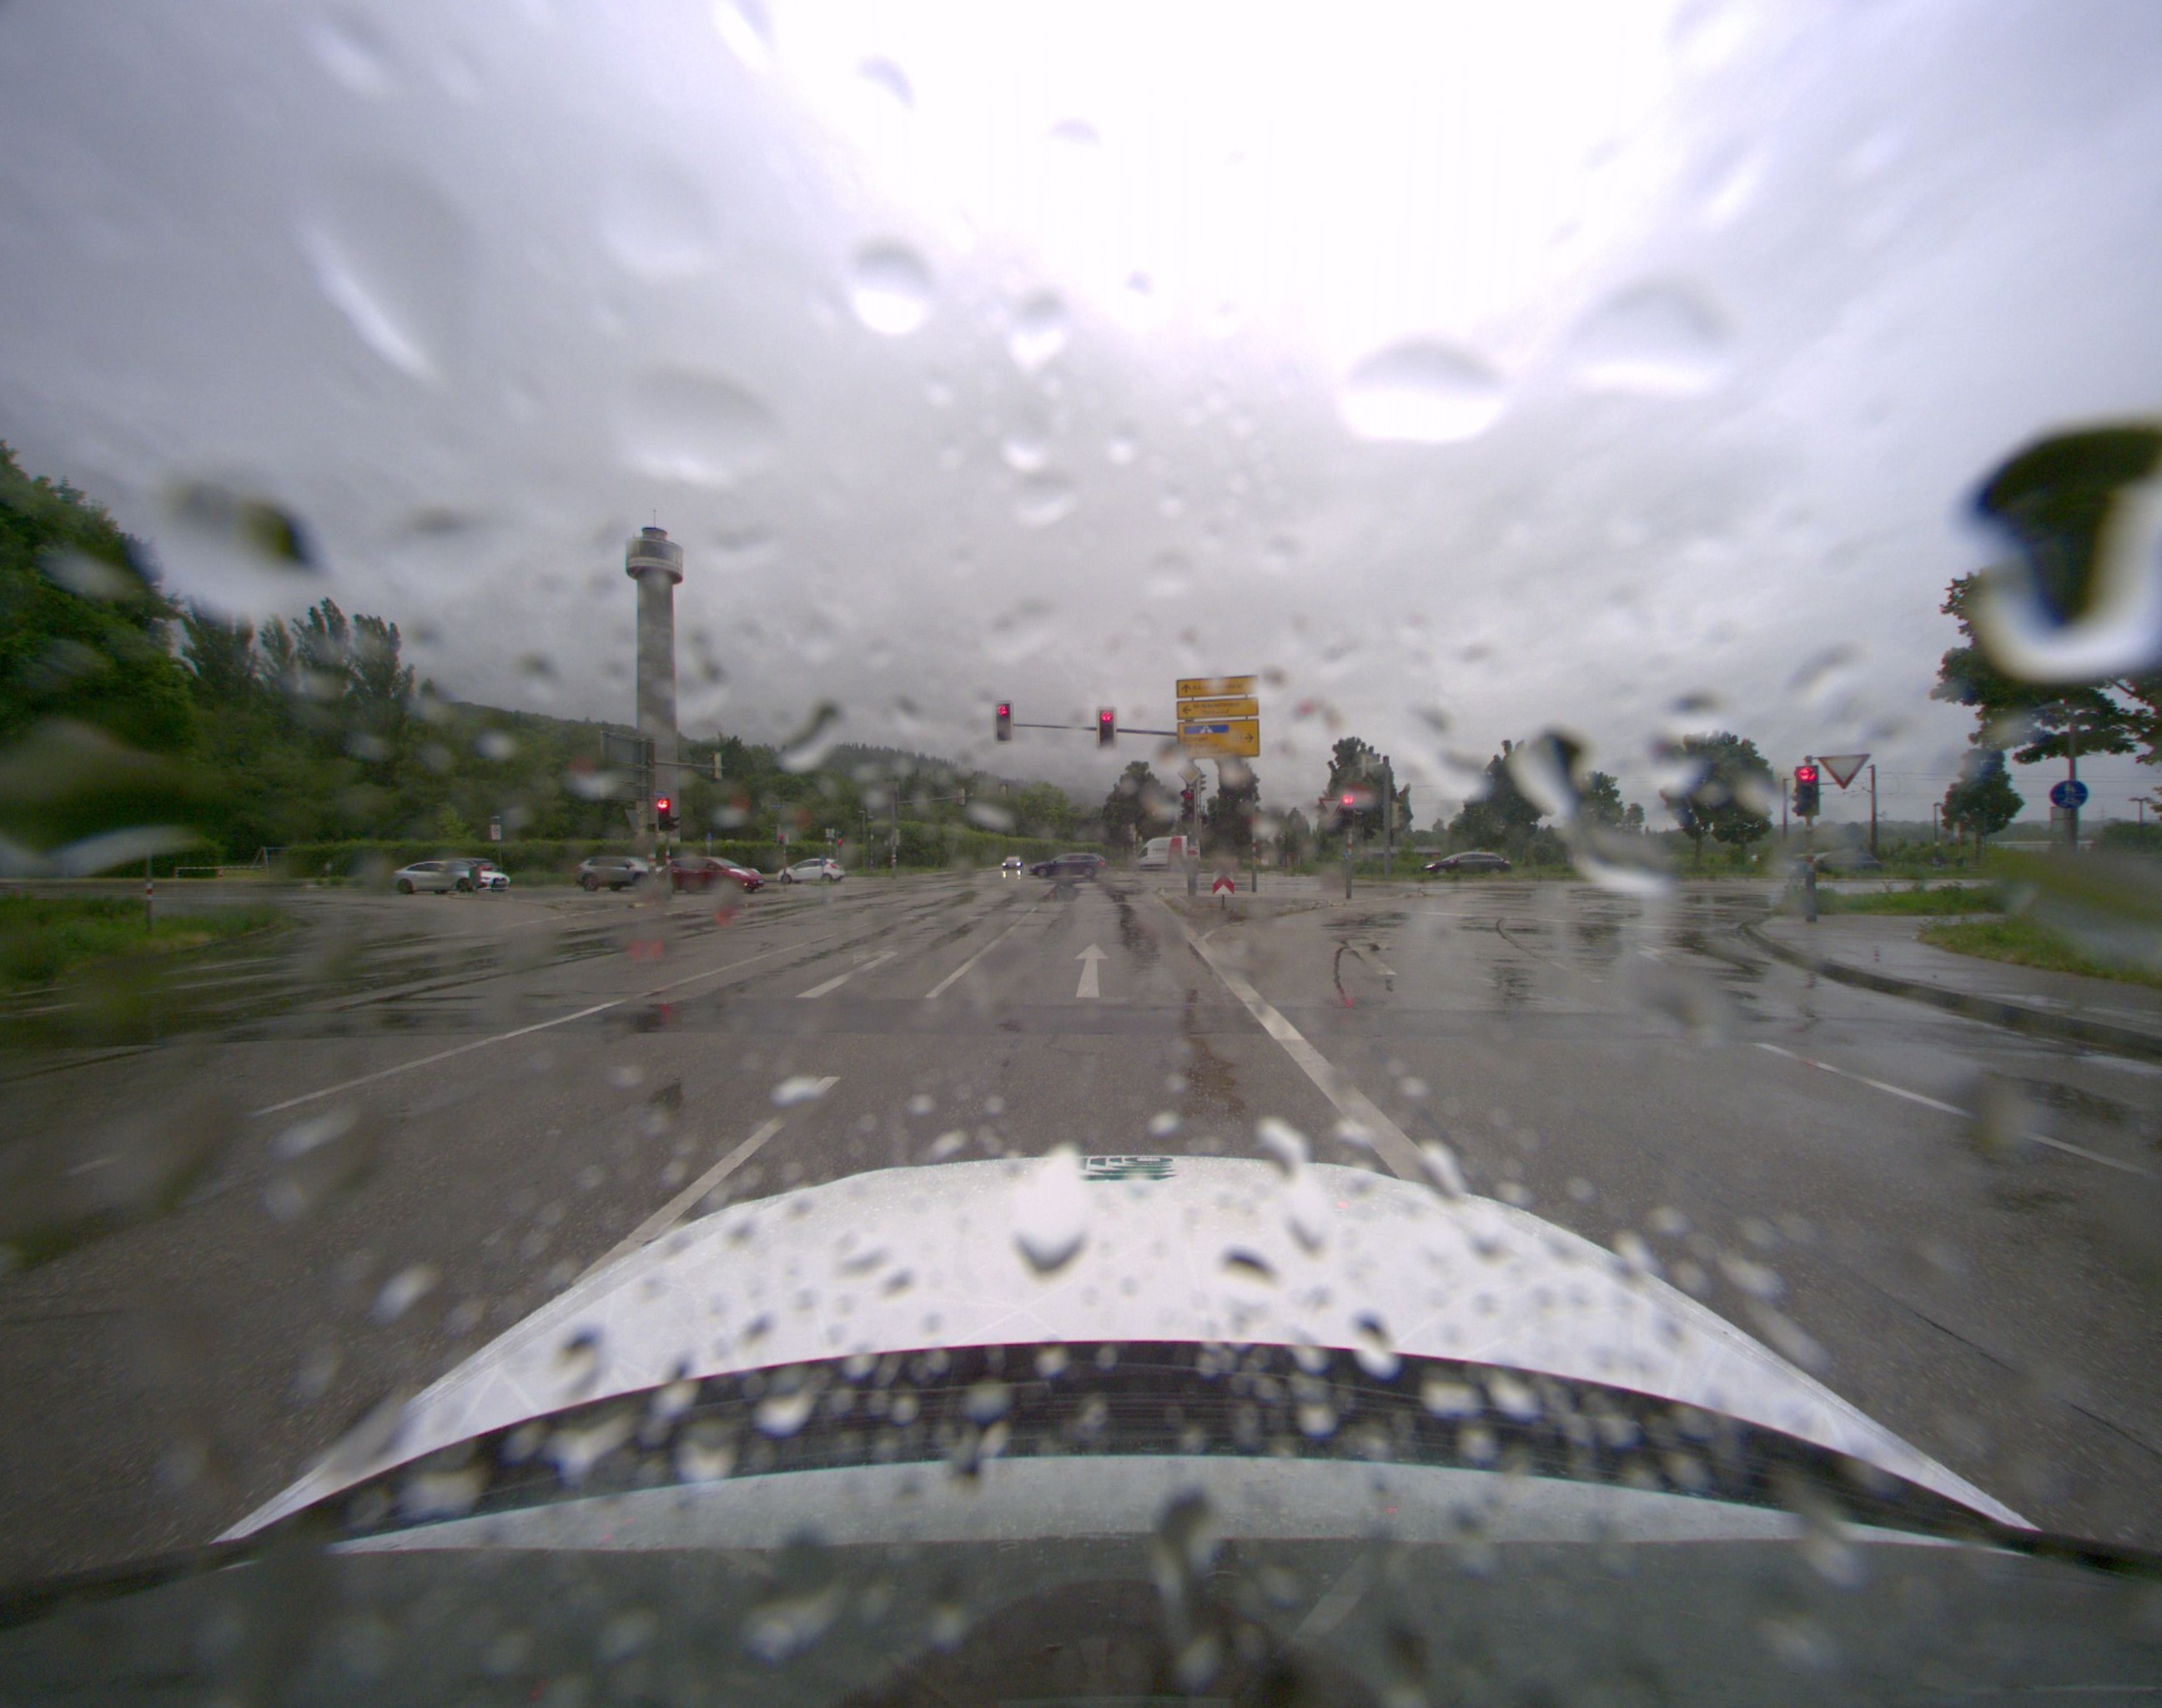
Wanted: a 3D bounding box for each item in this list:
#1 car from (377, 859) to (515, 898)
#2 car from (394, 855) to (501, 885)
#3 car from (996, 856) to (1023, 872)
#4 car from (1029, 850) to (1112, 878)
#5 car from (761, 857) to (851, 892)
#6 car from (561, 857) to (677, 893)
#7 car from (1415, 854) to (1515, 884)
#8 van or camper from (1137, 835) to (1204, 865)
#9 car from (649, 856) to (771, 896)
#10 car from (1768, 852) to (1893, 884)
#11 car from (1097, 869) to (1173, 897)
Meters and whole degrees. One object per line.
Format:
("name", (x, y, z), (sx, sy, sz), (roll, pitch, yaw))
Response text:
("car", (-27.652, 1.052, 35.508), (4.854, 1.553, 1.803), (-1, 0, 8))
("car", (-37.708, 0.953, 48.552), (4.670, 1.639, 1.816), (-1, 0, -10))
("car", (-7.364, 1.024, 84.617), (1.870, 1.573, 4.652), (-3, 0, 6))
("car", (-0.586, 0.585, 47.742), (4.647, 1.553, 1.825), (-1, 0, 5))
("car", (-16.420, 1.208, 48.803), (4.653, 1.915, 1.916), (-1, 0, 1))
("car", (-21.779, 0.968, 38.491), (4.501, 1.579, 1.917), (0, 1, 8))
("car", (21.205, 0.815, 45.083), (4.648, 1.553, 1.825), (-1, 0, 4))
("van or camper", (6.686, -0.311, 61.133), (2.172, 2.169, 4.807), (-1, 1, -41))
("car", (-15.492, 0.898, 34.081), (4.351, 1.579, 1.736), (0, 0, 7))
("car", (39.358, 0.713, 42.866), (4.642, 1.553, 1.827), (-1, 0, 9))
("car", (3.376, 1.806, 50.976), (4.647, 1.553, 1.825), (-1, 0, 4))
